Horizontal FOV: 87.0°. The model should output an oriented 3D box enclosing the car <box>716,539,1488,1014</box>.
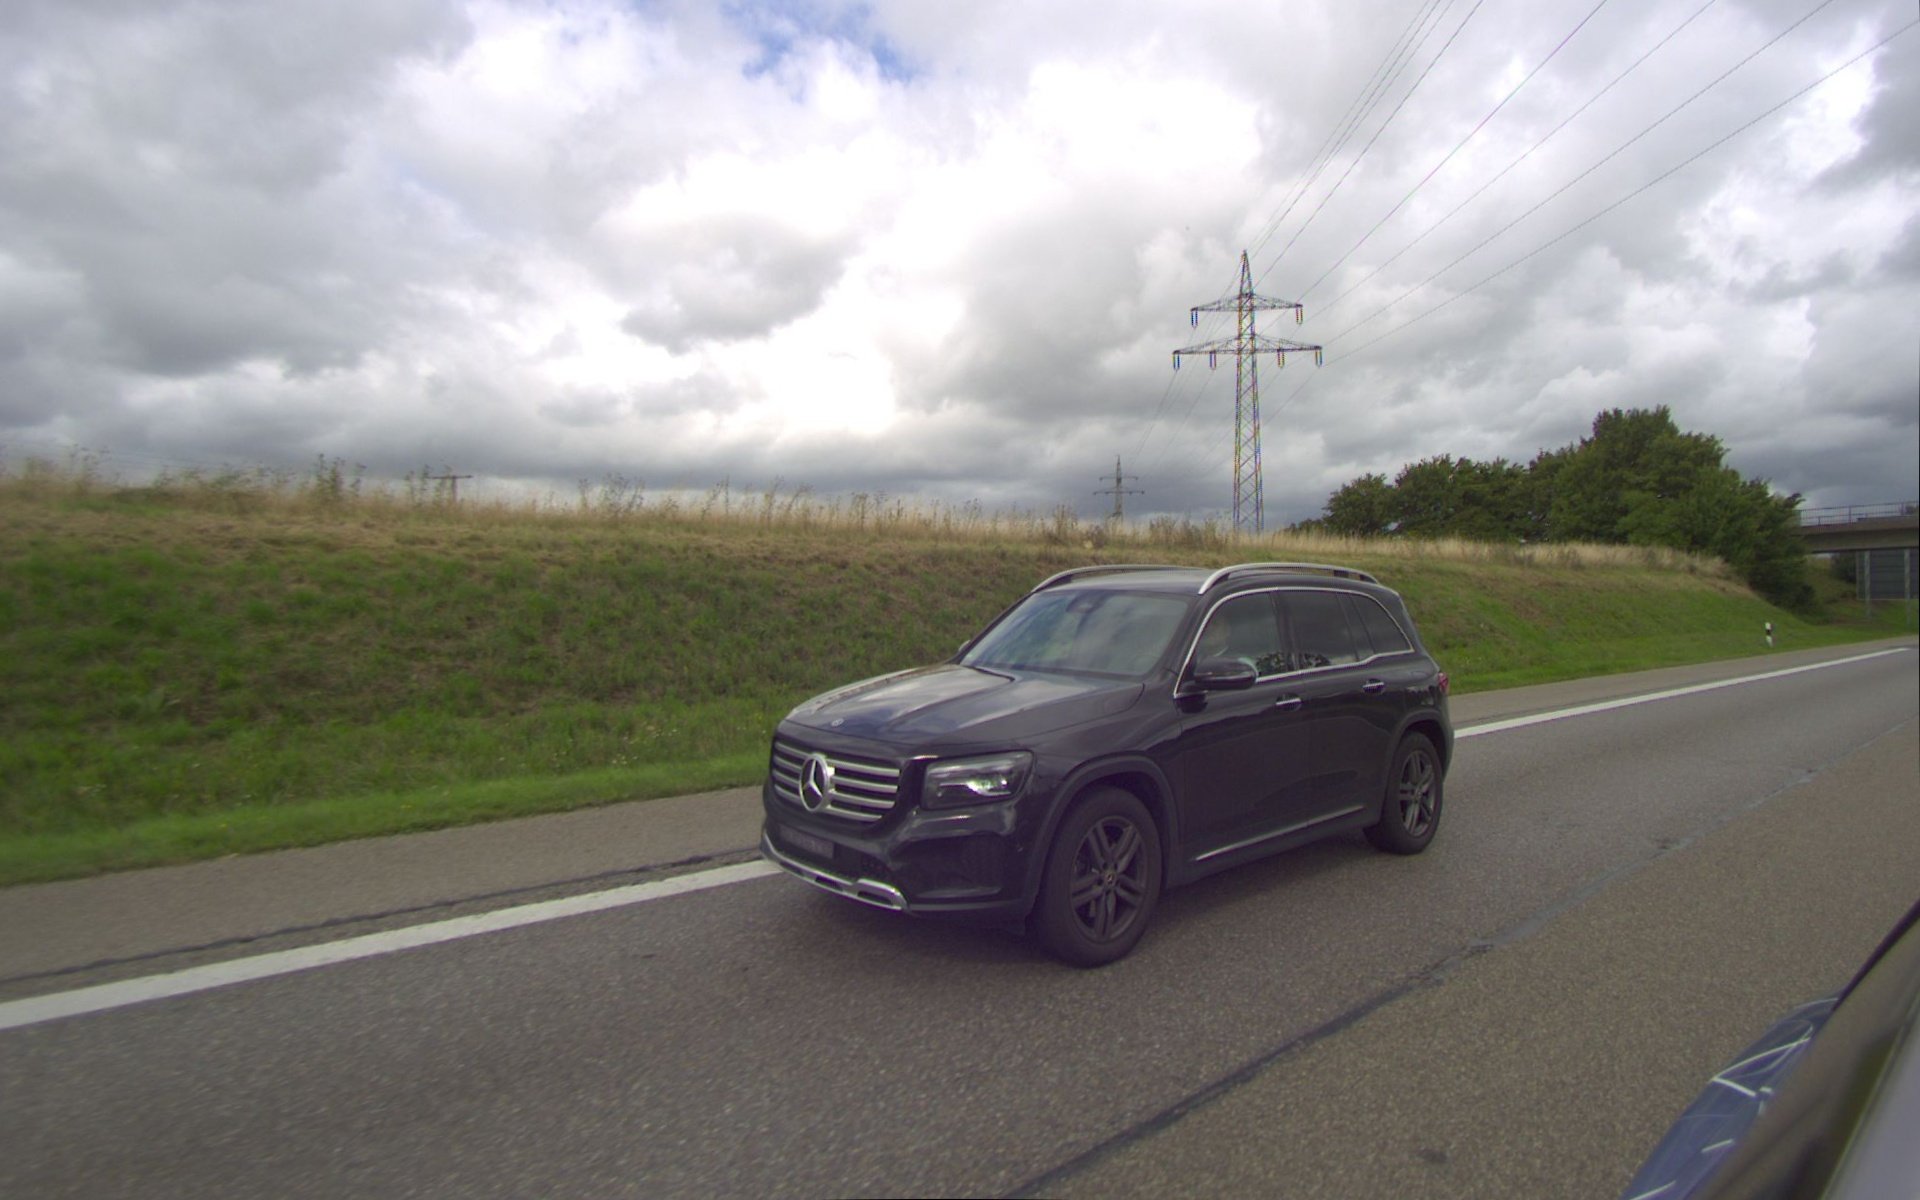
[{"bbox_3d":[1.040,0.575,5.567,4.283,1.629,1.837,0,1,-40],"label":"car"}]
